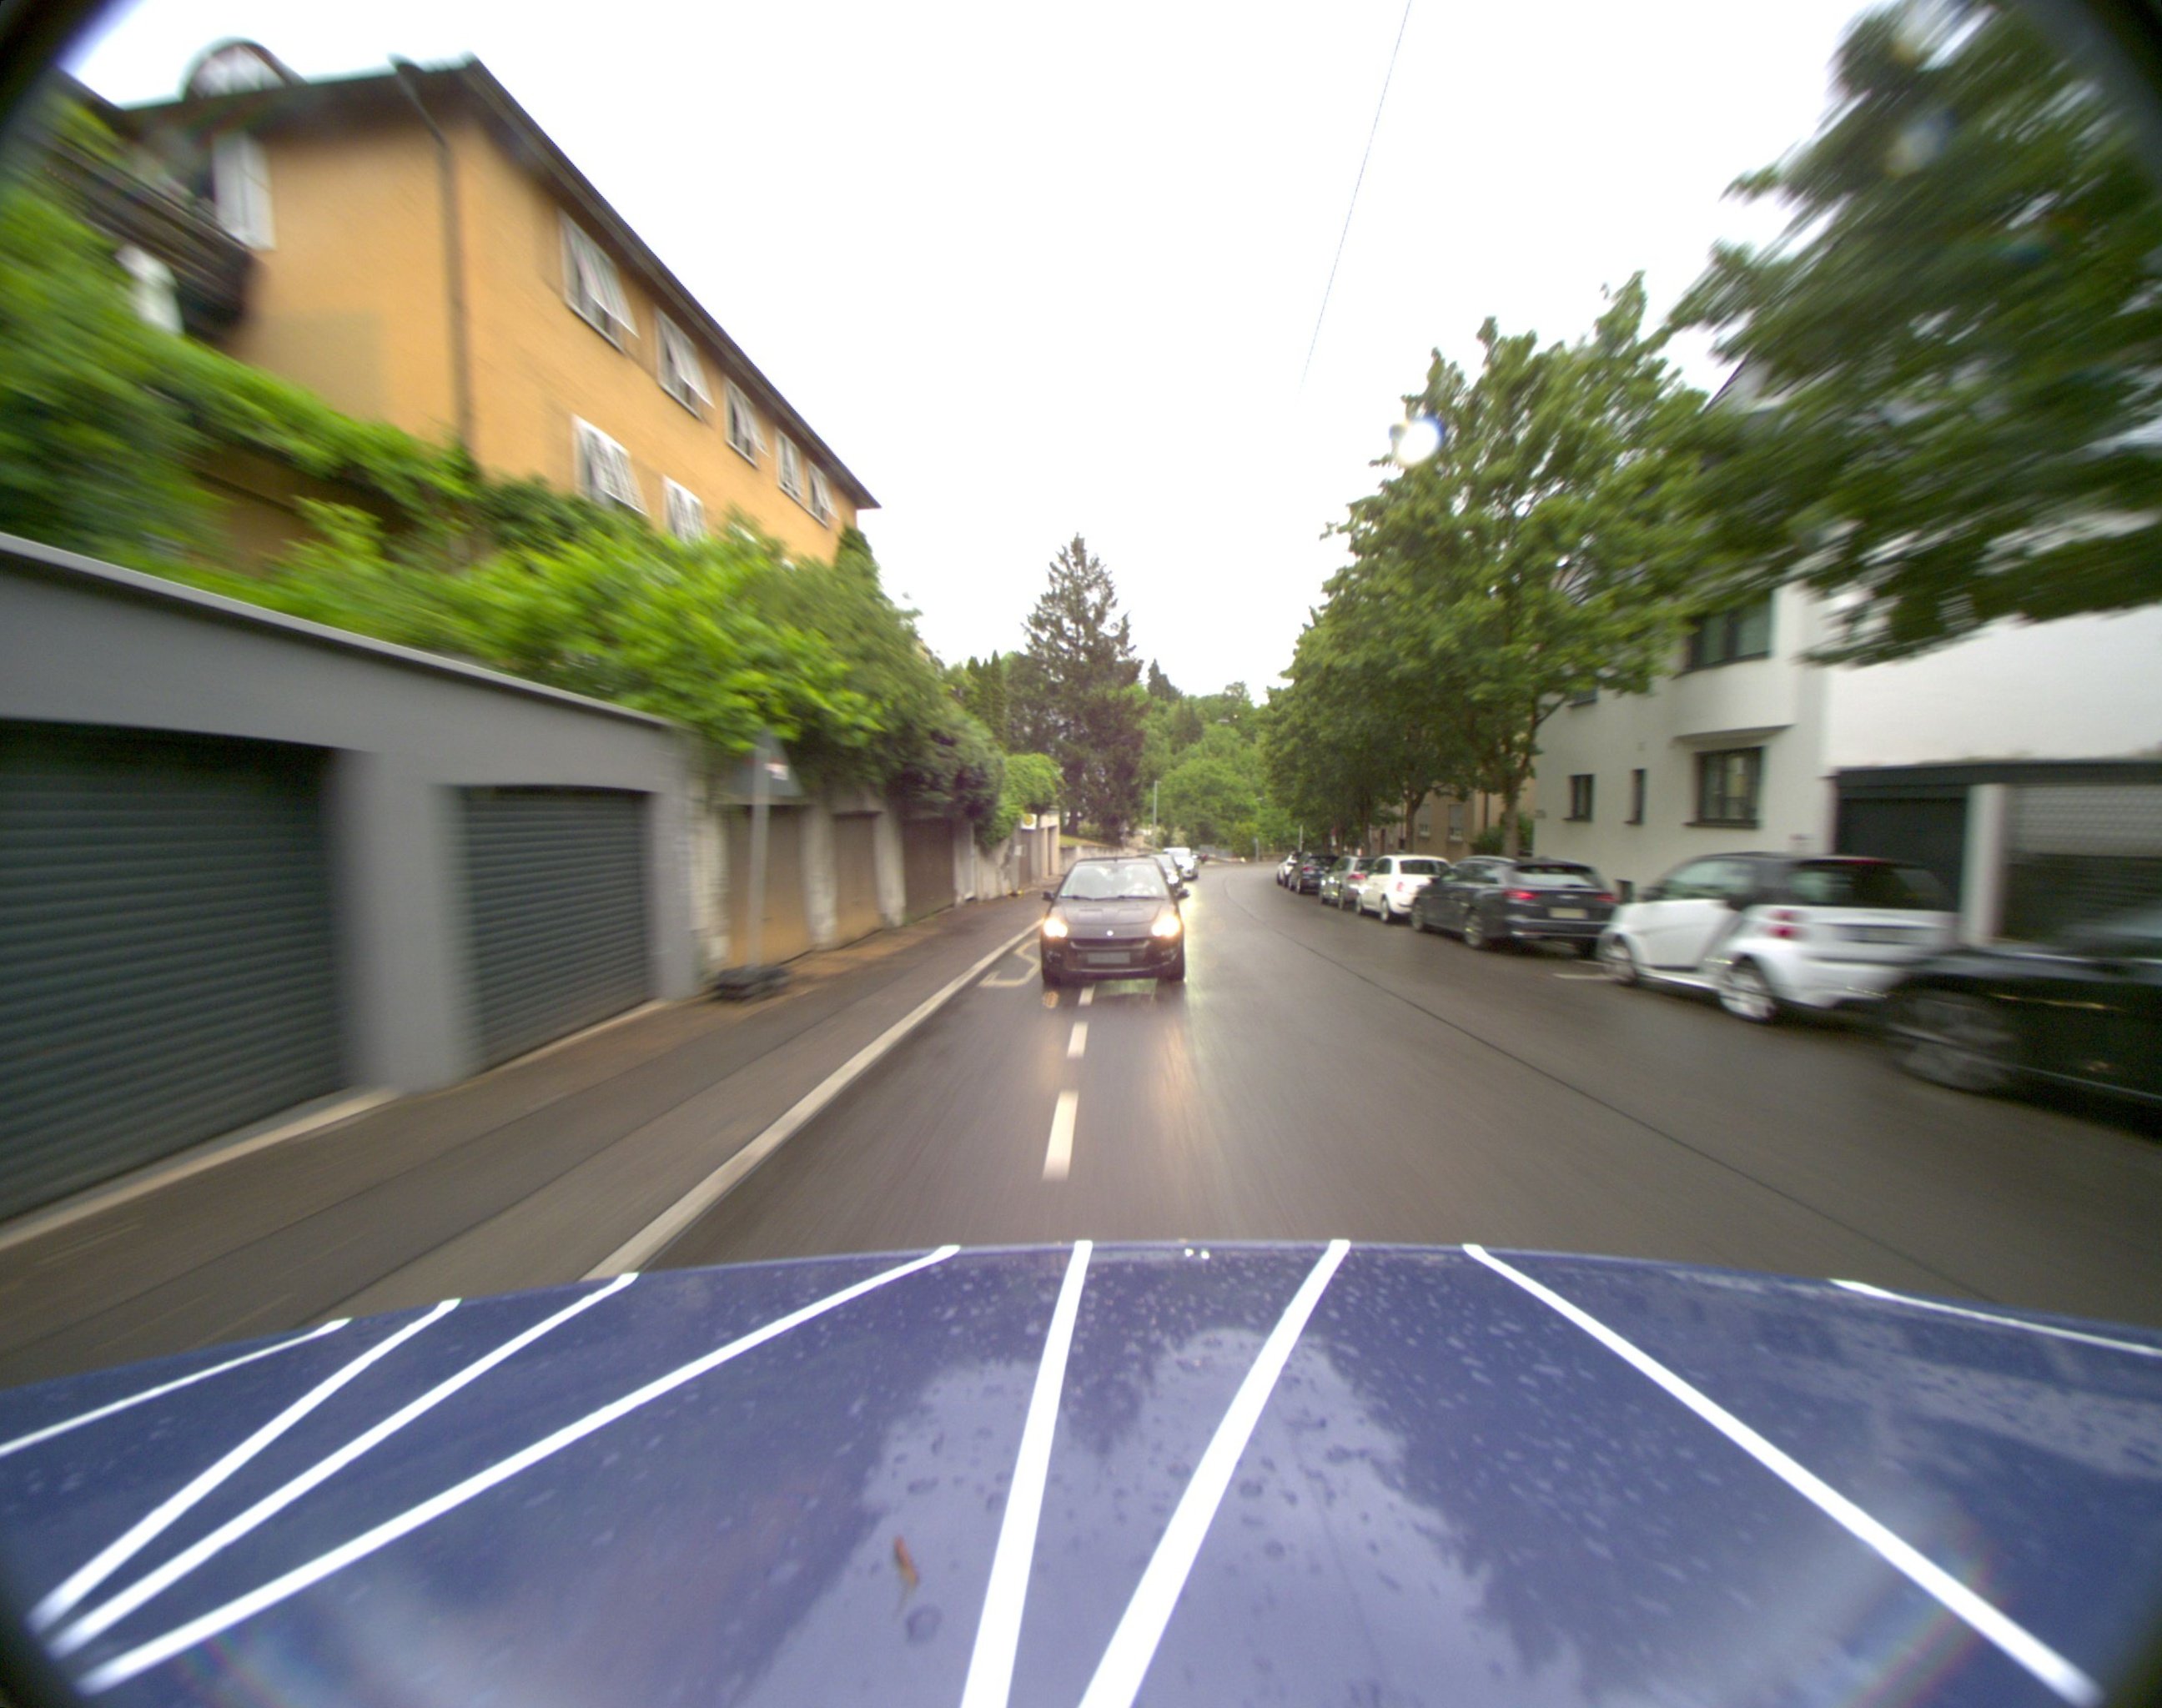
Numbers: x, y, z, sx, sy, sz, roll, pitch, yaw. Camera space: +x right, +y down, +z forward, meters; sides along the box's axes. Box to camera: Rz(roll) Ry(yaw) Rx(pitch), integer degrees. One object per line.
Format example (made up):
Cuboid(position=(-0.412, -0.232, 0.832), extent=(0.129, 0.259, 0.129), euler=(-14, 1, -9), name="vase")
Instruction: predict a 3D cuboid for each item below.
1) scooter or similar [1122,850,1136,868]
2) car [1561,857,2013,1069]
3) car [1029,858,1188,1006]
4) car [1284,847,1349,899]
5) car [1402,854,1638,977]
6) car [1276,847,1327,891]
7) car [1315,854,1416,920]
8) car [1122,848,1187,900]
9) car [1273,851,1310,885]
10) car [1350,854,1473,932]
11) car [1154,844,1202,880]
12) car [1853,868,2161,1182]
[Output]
Cuboid(position=(3.086, 0.284, 48.984), extent=(0.598, 1.126, 1.372), euler=(2, 1, 15), name="scooter or similar")
Cuboid(position=(6.724, 0.880, 7.801), extent=(1.558, 1.502, 3.384), euler=(3, 2, 5), name="car")
Cuboid(position=(0.528, 0.821, 9.723), extent=(1.577, 1.444, 3.589), euler=(0, 1, 10), name="car")
Cuboid(position=(8.712, 0.633, 28.368), extent=(1.621, 1.649, 3.925), euler=(4, 2, 8), name="car")
Cuboid(position=(6.919, 0.832, 12.609), extent=(1.667, 1.480, 4.476), euler=(3, 2, 7), name="car")
Cuboid(position=(9.742, 0.594, 33.761), extent=(1.595, 1.649, 3.925), euler=(5, 2, 10), name="car")
Cuboid(position=(7.711, 0.810, 20.948), extent=(1.621, 1.462, 3.973), euler=(3, 2, 7), name="car")
Cuboid(position=(2.301, 0.593, 24.715), extent=(1.807, 1.480, 4.017), euler=(2, 1, 2), name="car")
Cuboid(position=(10.785, 0.682, 38.969), extent=(1.619, 1.463, 3.672), euler=(6, 2, 15), name="car")
Cuboid(position=(7.325, 0.789, 17.165), extent=(1.577, 1.480, 3.471), euler=(4, 1, 8), name="car")
Cuboid(position=(4.995, 0.357, 38.658), extent=(2.010, 1.652, 4.449), euler=(2, 1, 13), name="car")
Cuboid(position=(6.118, 0.937, 3.225), extent=(1.559, 1.480, 4.098), euler=(3, 2, 4), name="car")
